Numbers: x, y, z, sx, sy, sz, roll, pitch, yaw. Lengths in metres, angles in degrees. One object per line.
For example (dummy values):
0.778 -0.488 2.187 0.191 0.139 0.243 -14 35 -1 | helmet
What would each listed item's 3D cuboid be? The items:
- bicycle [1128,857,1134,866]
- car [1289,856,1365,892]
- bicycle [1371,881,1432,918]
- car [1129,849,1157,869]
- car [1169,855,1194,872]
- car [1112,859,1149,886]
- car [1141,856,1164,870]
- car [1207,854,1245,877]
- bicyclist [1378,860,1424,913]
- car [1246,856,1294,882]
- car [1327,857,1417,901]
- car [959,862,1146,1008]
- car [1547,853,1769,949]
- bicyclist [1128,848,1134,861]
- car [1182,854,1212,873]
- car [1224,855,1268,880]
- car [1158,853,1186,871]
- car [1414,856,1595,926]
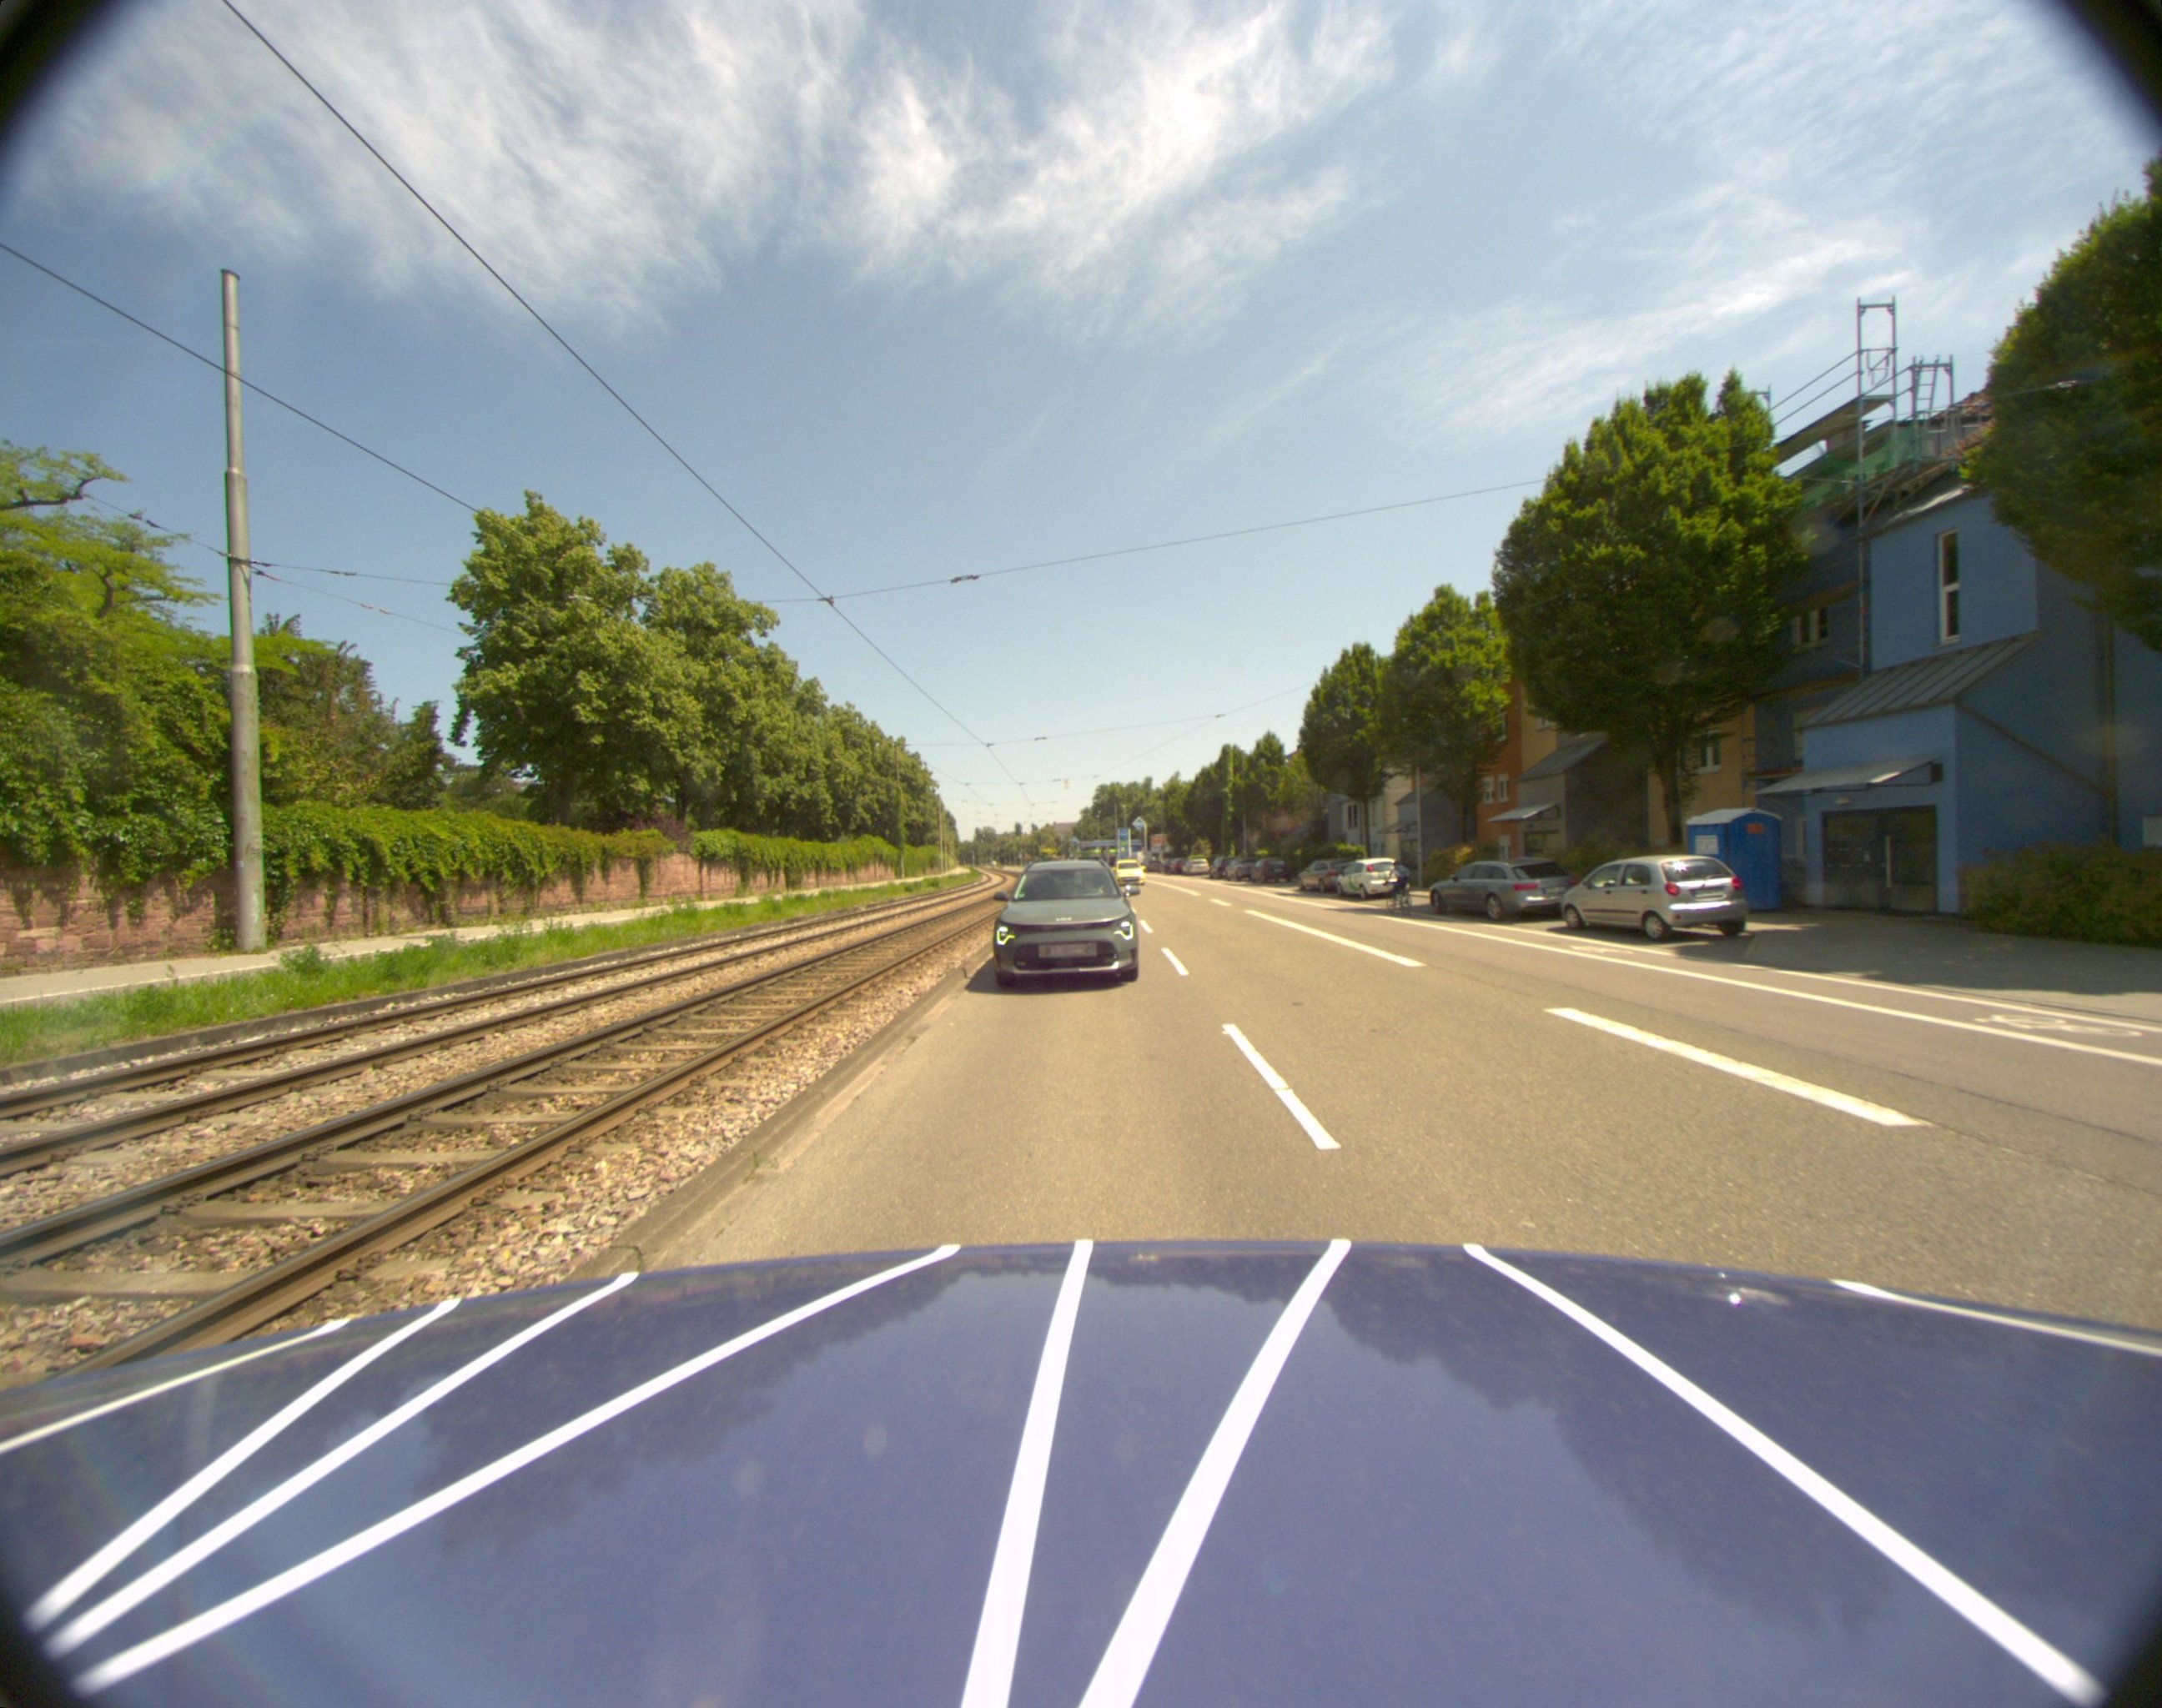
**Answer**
5.895 0.872 89.660 0.641 1.089 1.639 1 1 1 | bicycle
11.359 0.889 35.485 1.708 1.421 4.750 -6 0 -3 | car
9.029 1.261 21.483 0.703 0.945 2.243 1 -1 -2 | bicycle
7.734 0.709 95.002 2.285 2.294 5.226 -3 0 -8 | car
9.884 0.944 74.856 1.604 1.584 3.680 -3 0 -6 | car
2.818 1.031 43.703 1.695 1.403 3.515 -3 0 -2 | car
8.354 1.078 89.004 1.870 1.528 4.142 -3 0 -4 | car
10.945 0.876 57.640 1.772 1.579 4.147 -3 0 -3 | car
9.033 0.897 21.477 0.737 1.422 1.124 2 0 -2 | bicyclist
11.516 0.861 46.528 1.754 1.424 4.257 -4 0 0 | car
11.363 0.918 30.018 1.750 1.434 4.420 -6 0 0 | car
-0.219 0.961 10.726 2.062 1.533 4.001 -4 0 3 | car
10.987 0.822 14.789 1.597 1.487 3.448 -6 0 1 | car
5.909 0.053 89.583 0.737 1.496 0.737 0 1 1 | bicyclist
10.483 0.889 68.963 1.845 1.573 4.496 -4 0 -2 | car
11.195 0.885 51.818 1.830 1.487 4.757 -3 0 -1 | car
9.562 0.791 80.065 1.999 1.783 4.556 -2 0 -5 | car
10.932 0.900 20.157 1.791 1.441 5.133 -6 -1 0 | car
